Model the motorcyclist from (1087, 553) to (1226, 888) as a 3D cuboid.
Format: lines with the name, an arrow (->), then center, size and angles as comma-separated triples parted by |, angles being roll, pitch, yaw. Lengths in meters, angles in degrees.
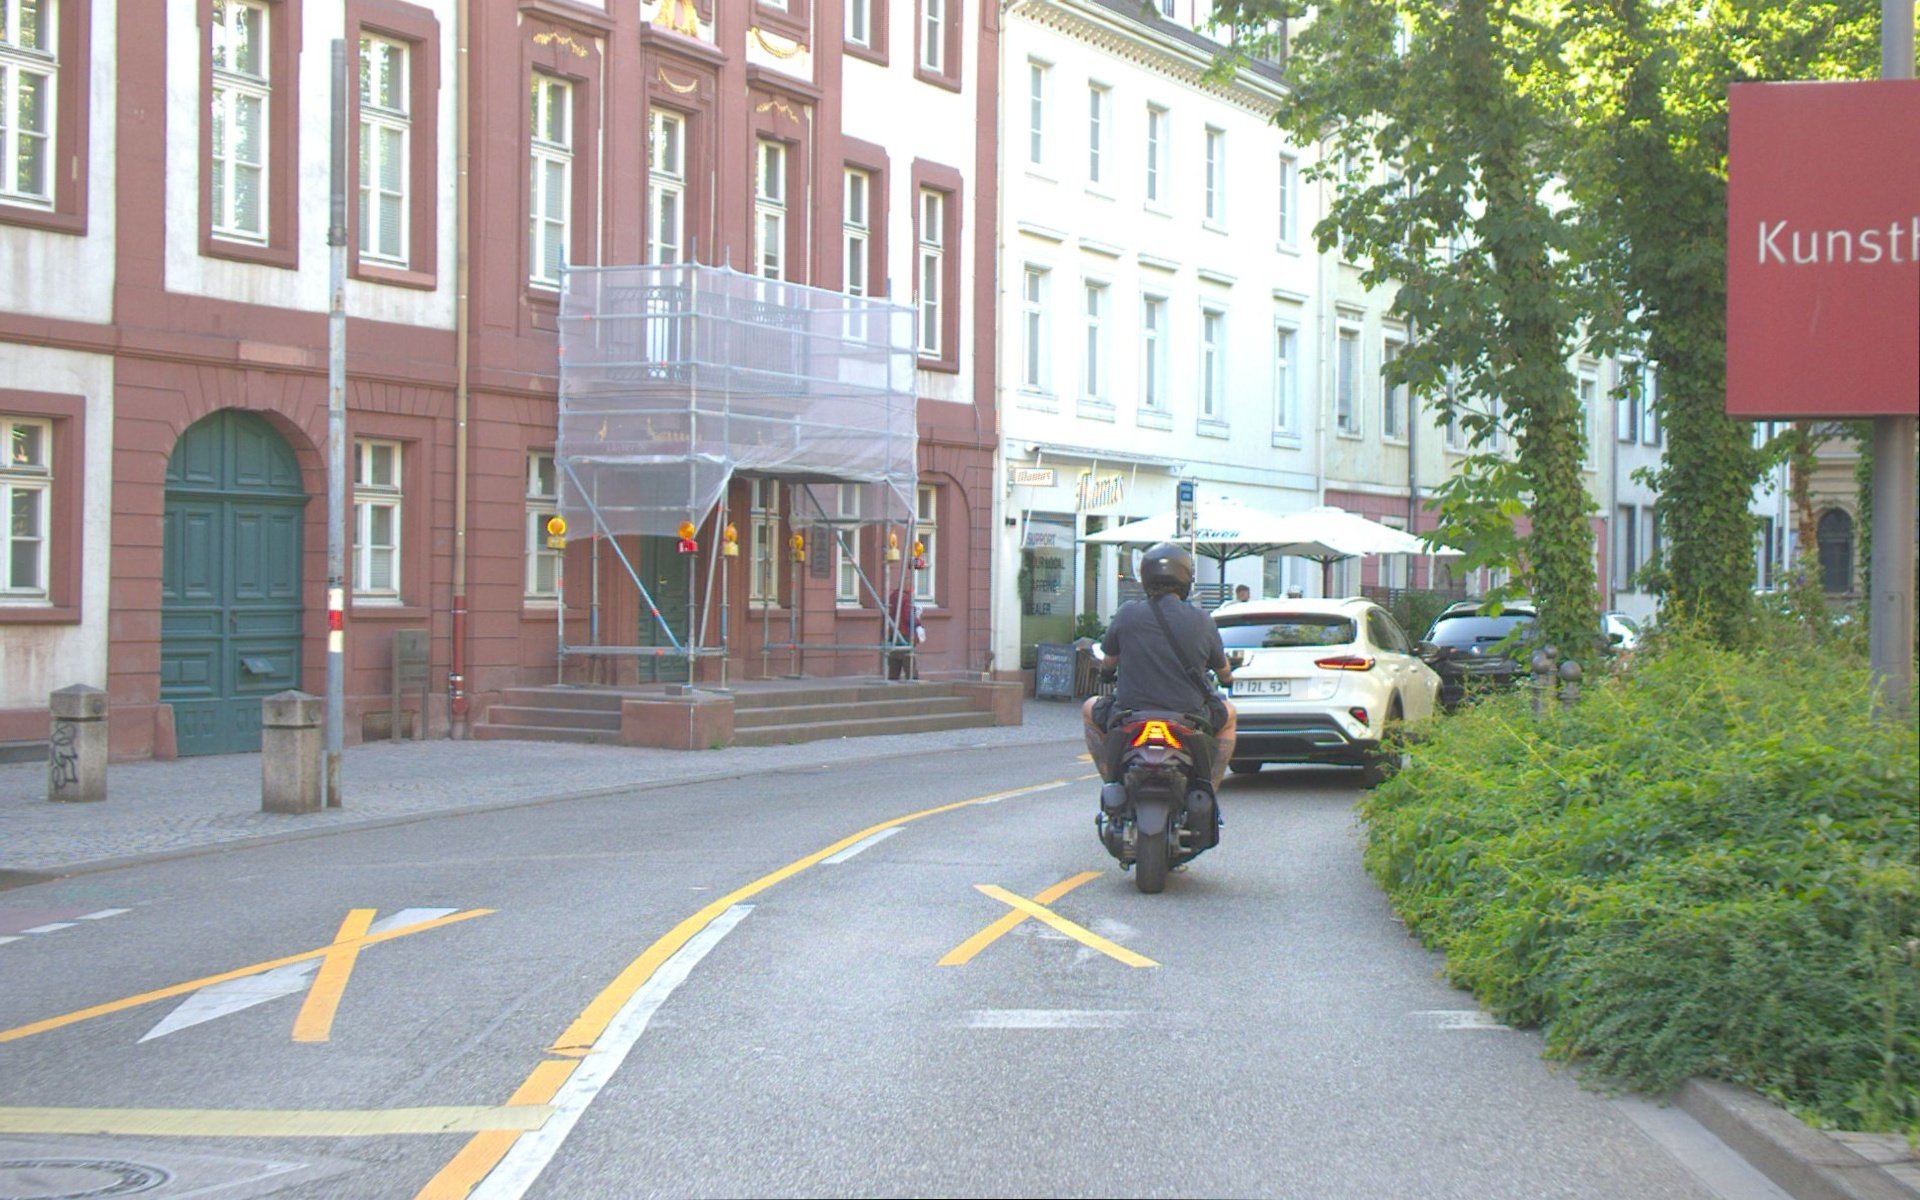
motorcyclist -> 0.982, 0.595, 17.288 | 0.657, 1.645, 0.650 | 1, 0, 1

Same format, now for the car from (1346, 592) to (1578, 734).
car -> 5.668, 0.675, 38.416 | 1.842, 1.459, 4.053 | 2, 0, 19

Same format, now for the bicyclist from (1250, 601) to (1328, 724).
bicyclist -> 4.323, 0.811, 45.176 | 0.745, 1.578, 0.794 | 1, 0, 26

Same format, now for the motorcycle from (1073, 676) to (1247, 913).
motorcycle -> 0.986, 0.940, 17.186 | 0.796, 1.062, 1.725 | 1, 0, 3

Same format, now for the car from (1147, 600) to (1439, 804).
car -> 2.779, 0.769, 27.892 | 1.852, 1.475, 4.055 | 2, 0, 12

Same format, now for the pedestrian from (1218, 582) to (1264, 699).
pedestrian -> 4.297, 0.617, 52.511 | 0.438, 1.769, 0.596 | 0, -1, 37

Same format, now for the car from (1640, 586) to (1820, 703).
car -> 11.993, 0.676, 53.386 | 1.843, 1.707, 4.052 | 2, 0, 25

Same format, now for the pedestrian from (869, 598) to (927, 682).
pedestrian -> -0.785, 0.502, 43.519 | 0.537, 1.049, 0.551 | 1, 0, 20
